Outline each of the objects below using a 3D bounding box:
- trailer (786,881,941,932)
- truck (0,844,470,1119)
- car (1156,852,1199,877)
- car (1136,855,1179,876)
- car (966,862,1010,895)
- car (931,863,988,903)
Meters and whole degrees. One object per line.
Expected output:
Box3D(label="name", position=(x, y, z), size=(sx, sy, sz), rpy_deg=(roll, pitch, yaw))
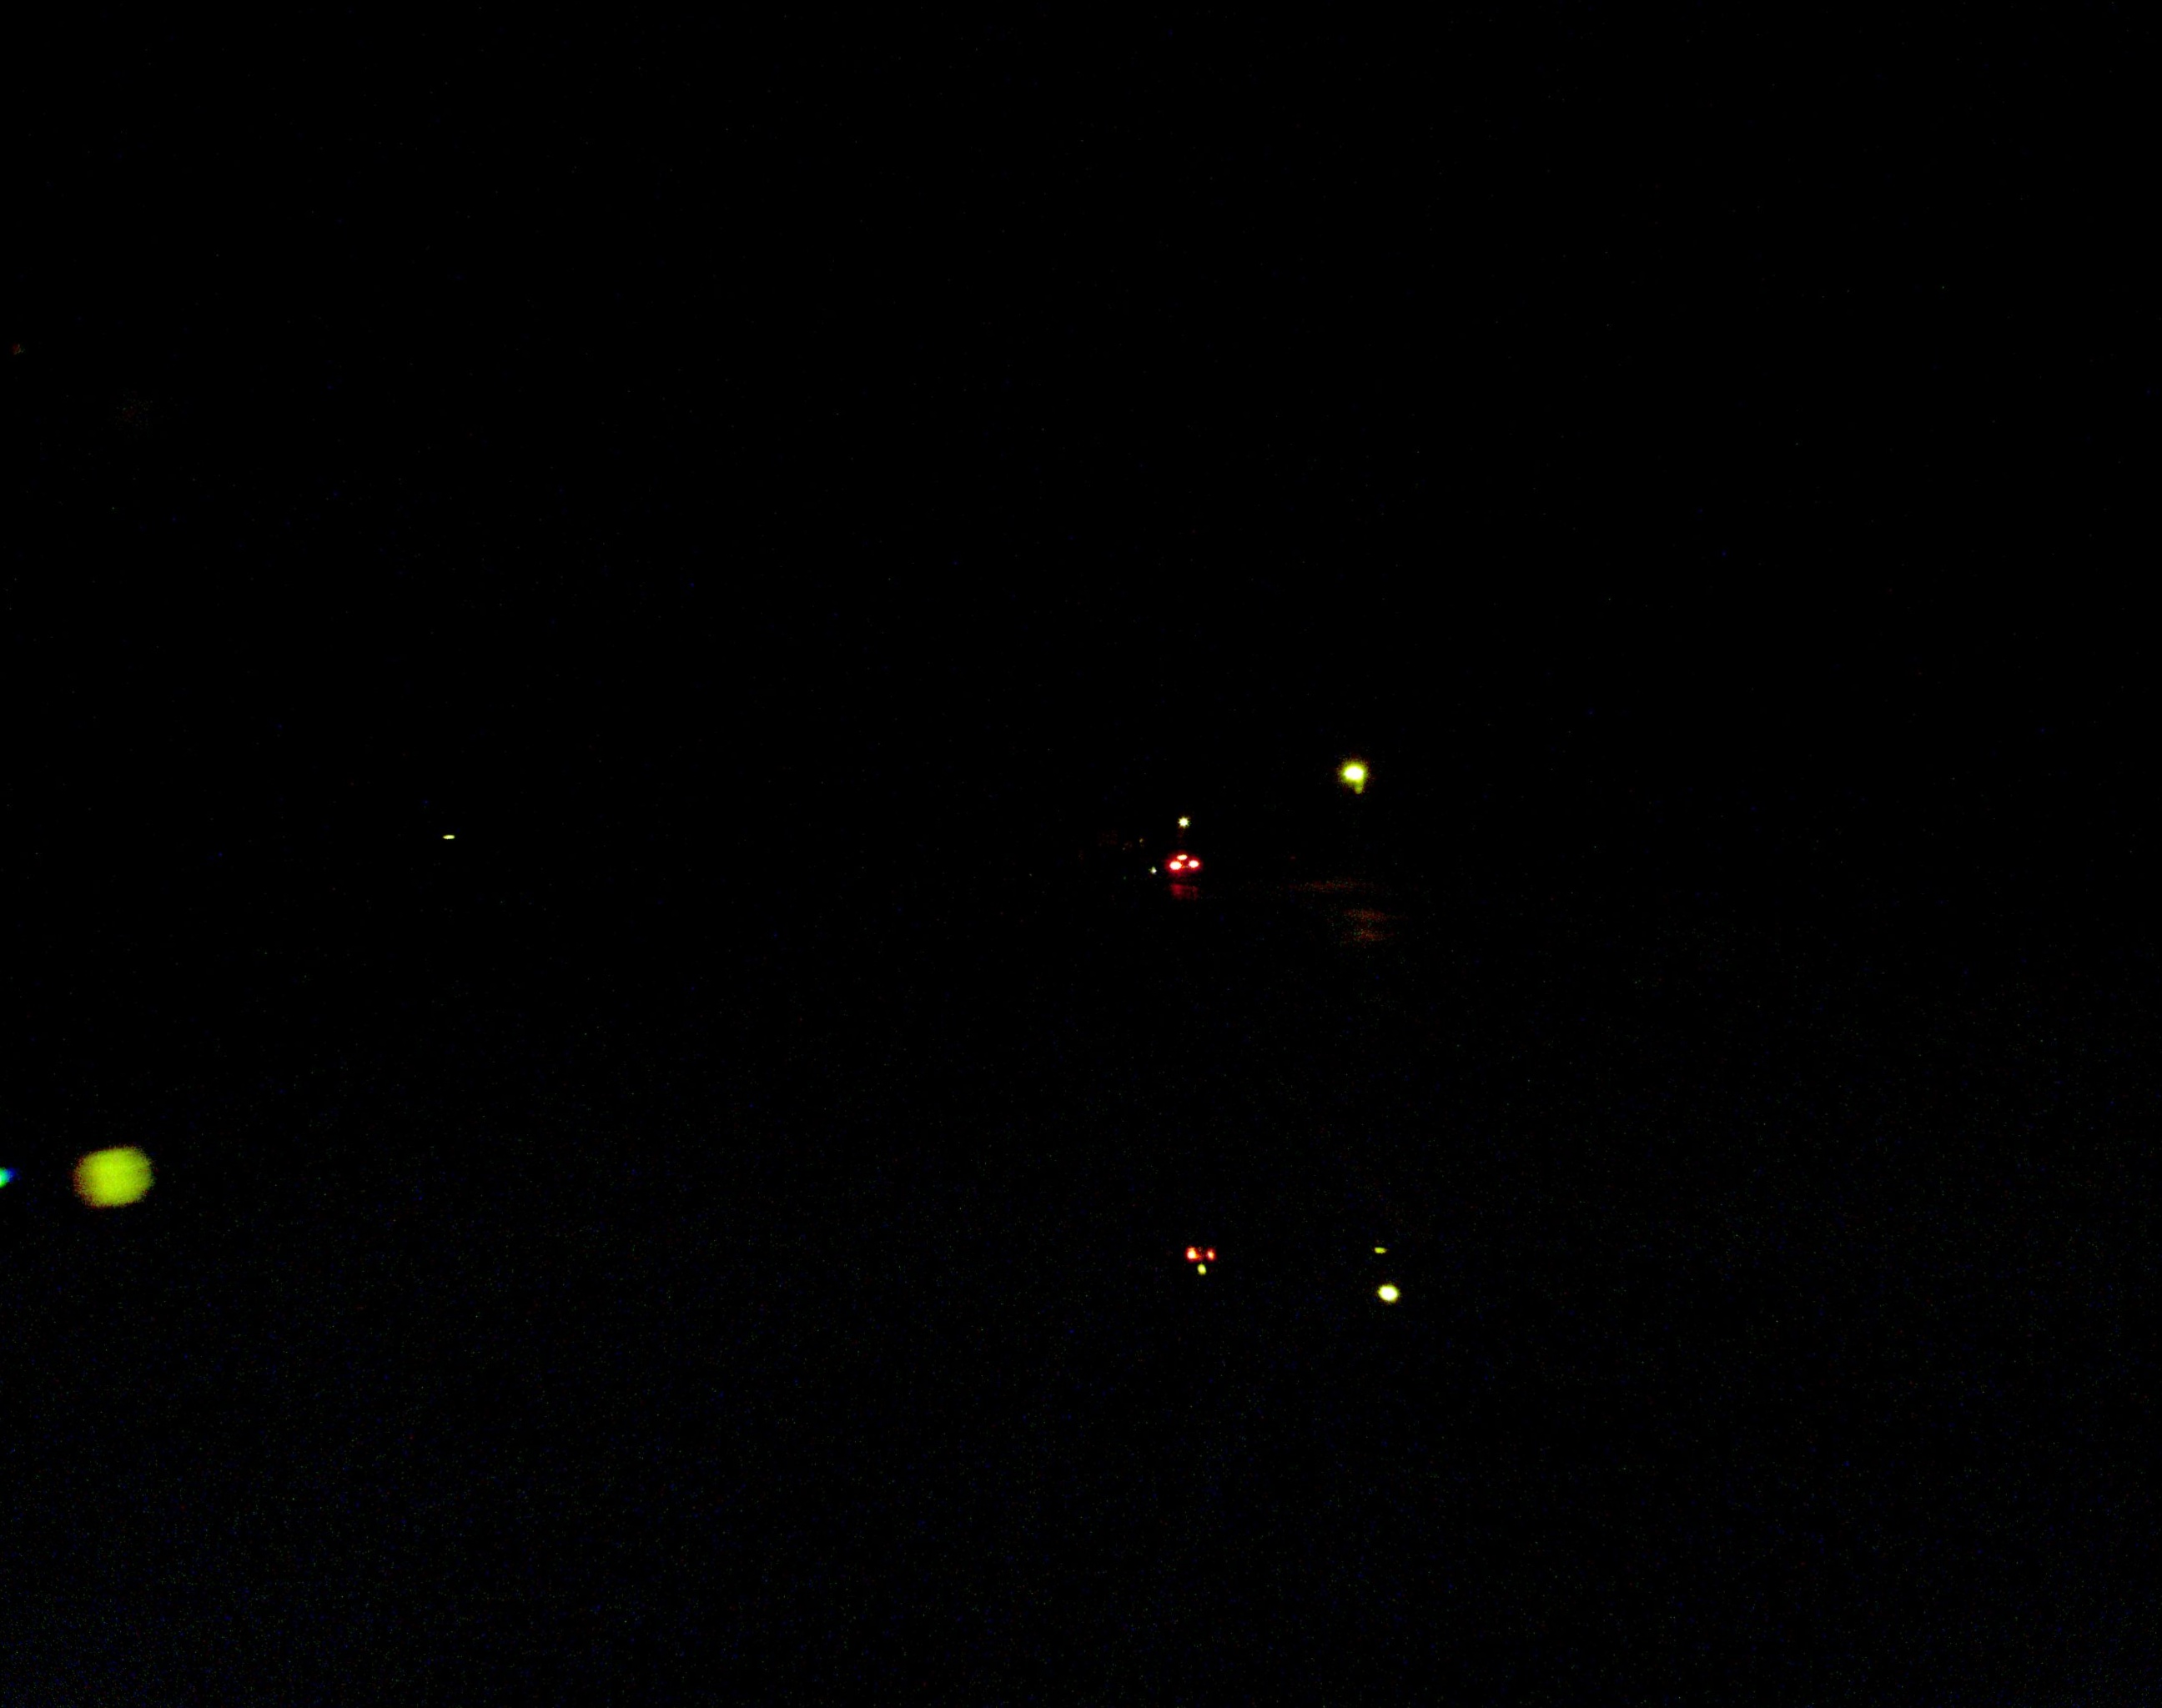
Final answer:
Box3D(label="trailer", position=(-6.826, 1.619, 25.594), size=(2.179, 0.961, 9.617), rpy_deg=(-5, -1, 1))
Box3D(label="truck", position=(-10.159, 1.125, 7.259), size=(2.384, 2.270, 7.743), rpy_deg=(-4, 0, -1))
Box3D(label="car", position=(6.349, 0.692, 50.433), size=(1.854, 1.436, 4.915), rpy_deg=(-4, 0, -3))
Box3D(label="car", position=(5.612, 0.880, 56.455), size=(2.000, 1.371, 4.595), rpy_deg=(-4, 0, -9))
Box3D(label="car", position=(-4.876, 1.295, 40.438), size=(1.999, 1.542, 4.325), rpy_deg=(-4, -1, -5))
Box3D(label="car", position=(-5.260, 1.224, 33.338), size=(1.940, 1.543, 3.999), rpy_deg=(-4, 0, -3))
